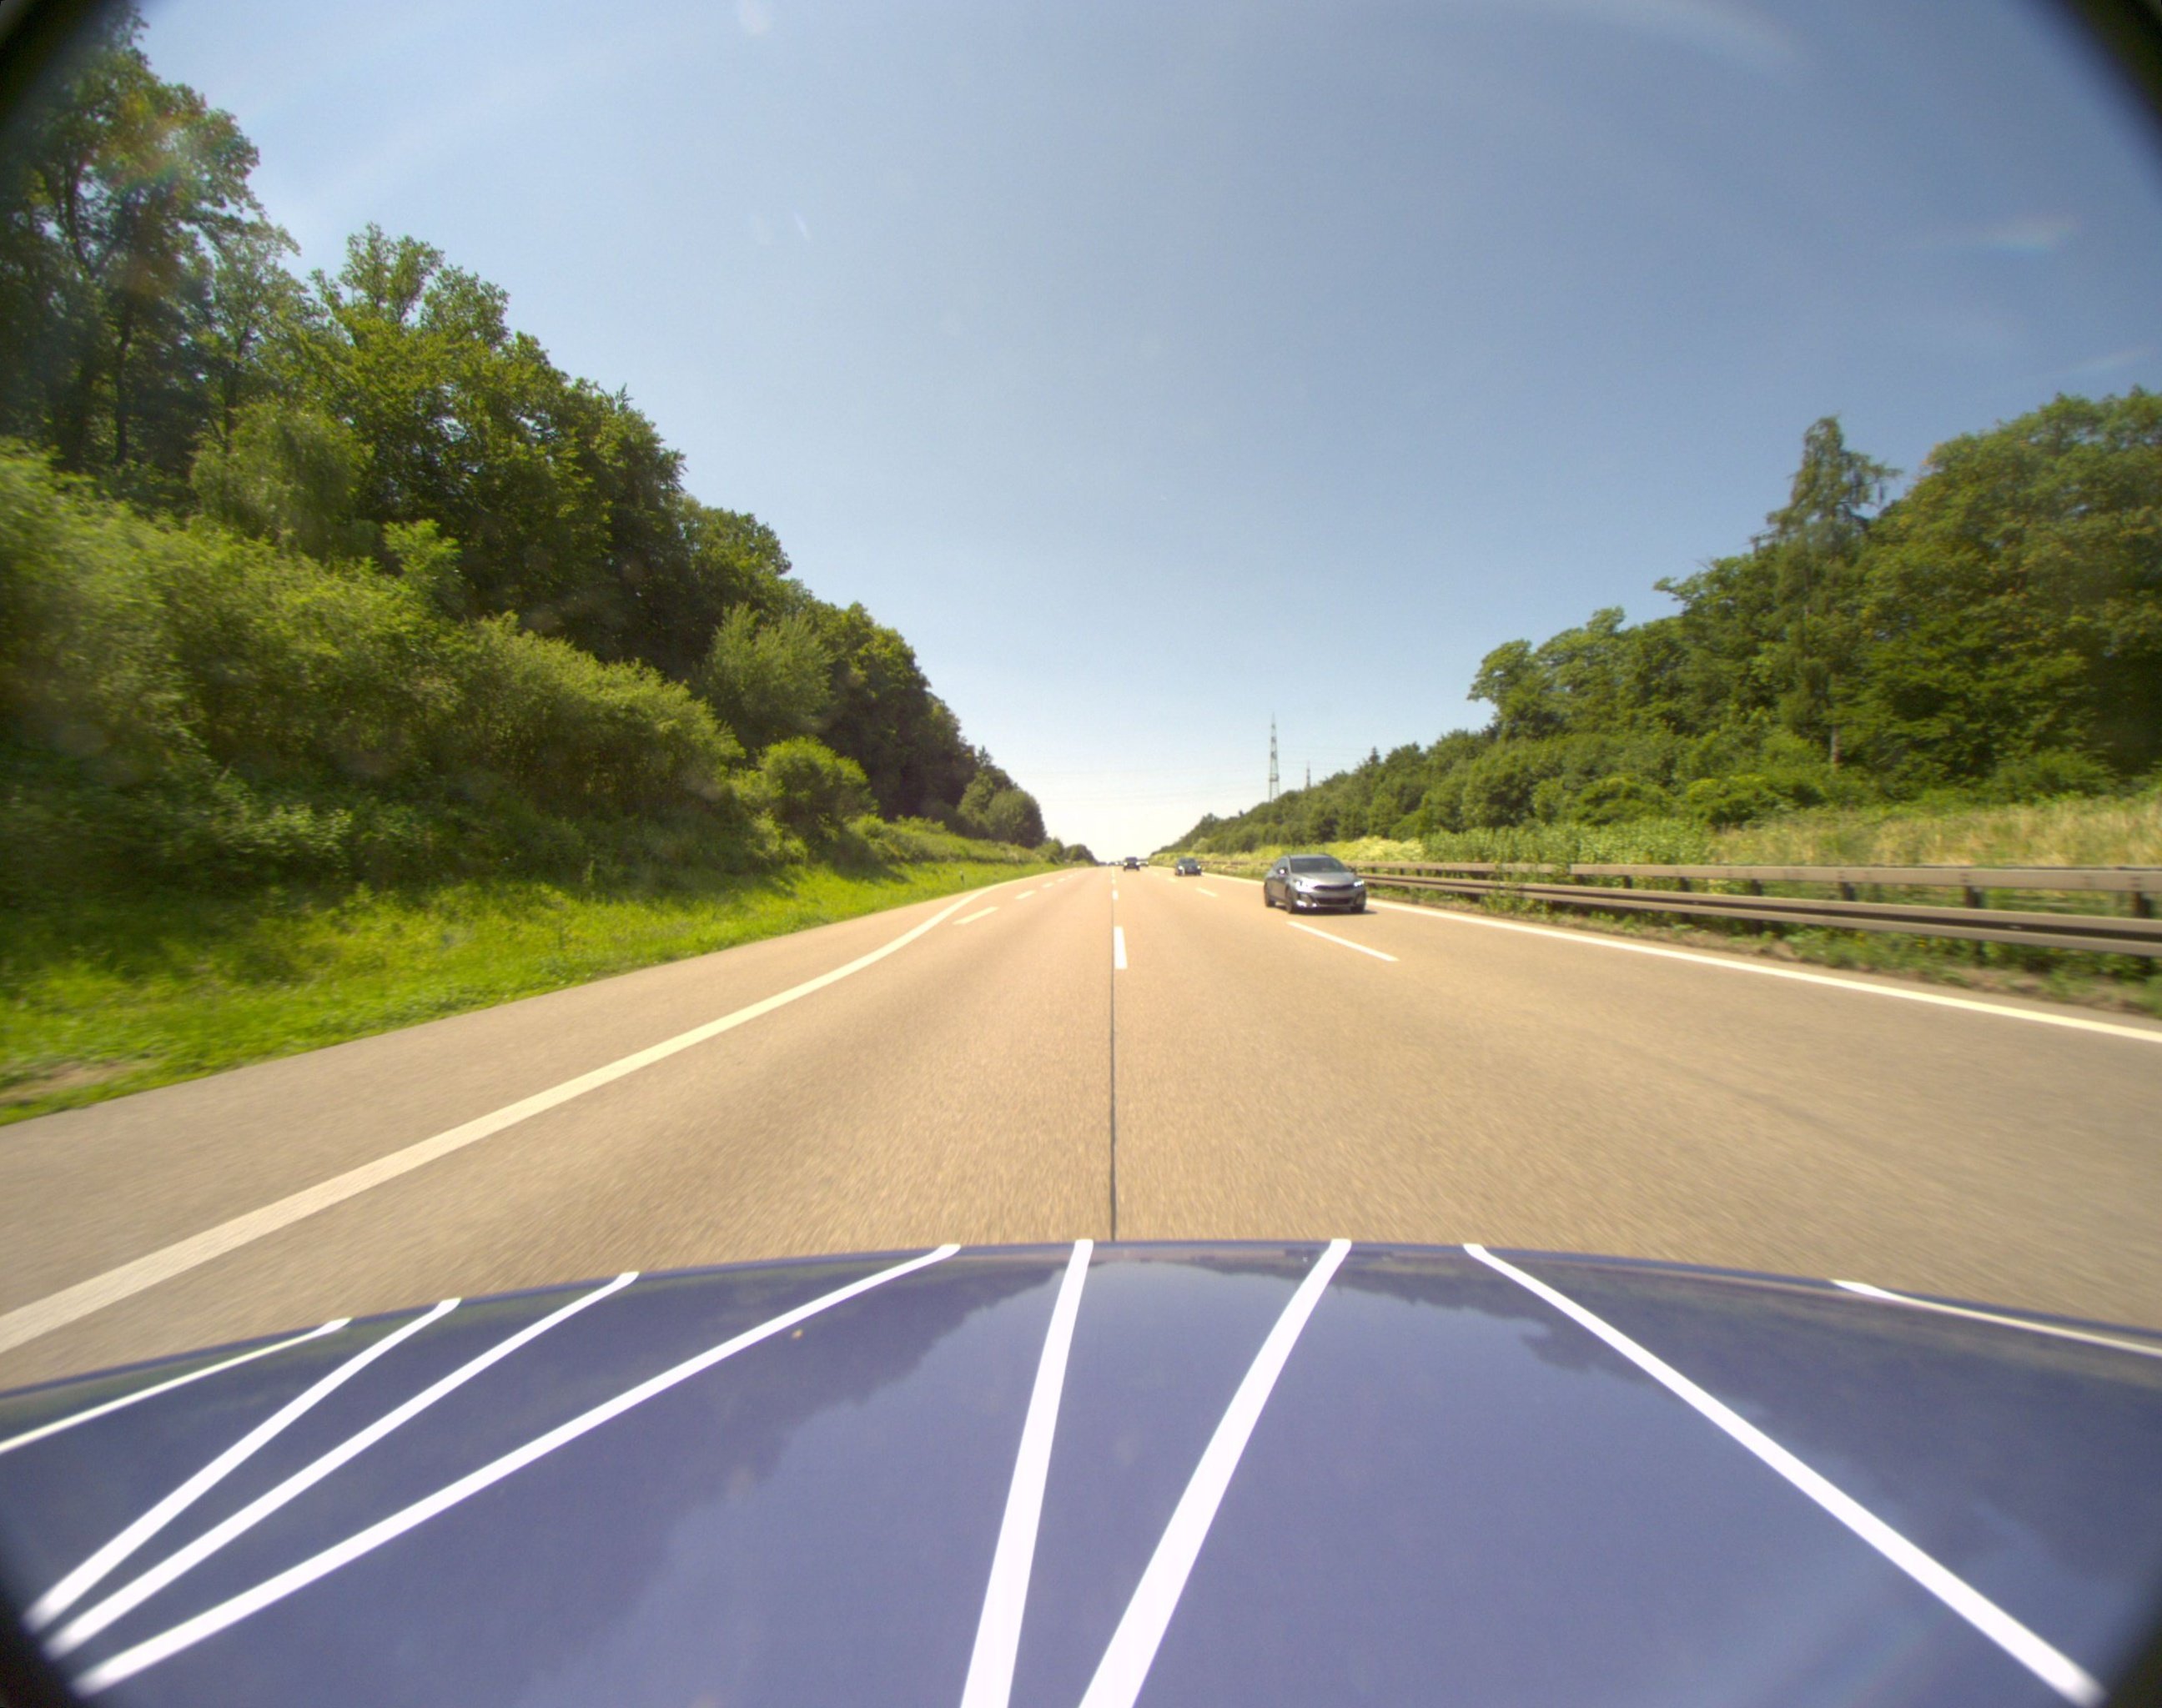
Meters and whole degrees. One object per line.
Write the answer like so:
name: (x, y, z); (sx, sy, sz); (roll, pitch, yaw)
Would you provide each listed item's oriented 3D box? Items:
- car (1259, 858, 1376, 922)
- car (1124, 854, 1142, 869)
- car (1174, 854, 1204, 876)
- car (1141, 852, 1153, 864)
car: (5.968, 0.848, 19.628); (1.768, 1.400, 3.999); (-2, 0, 1)
car: (6.023, 0.844, 88.141); (1.787, 1.550, 3.943); (-2, 0, 1)
car: (8.299, 0.834, 58.526); (1.741, 1.610, 3.943); (-2, 0, 1)
car: (11.481, 0.675, 132.665); (1.875, 2.002, 4.000); (-2, 0, 2)
